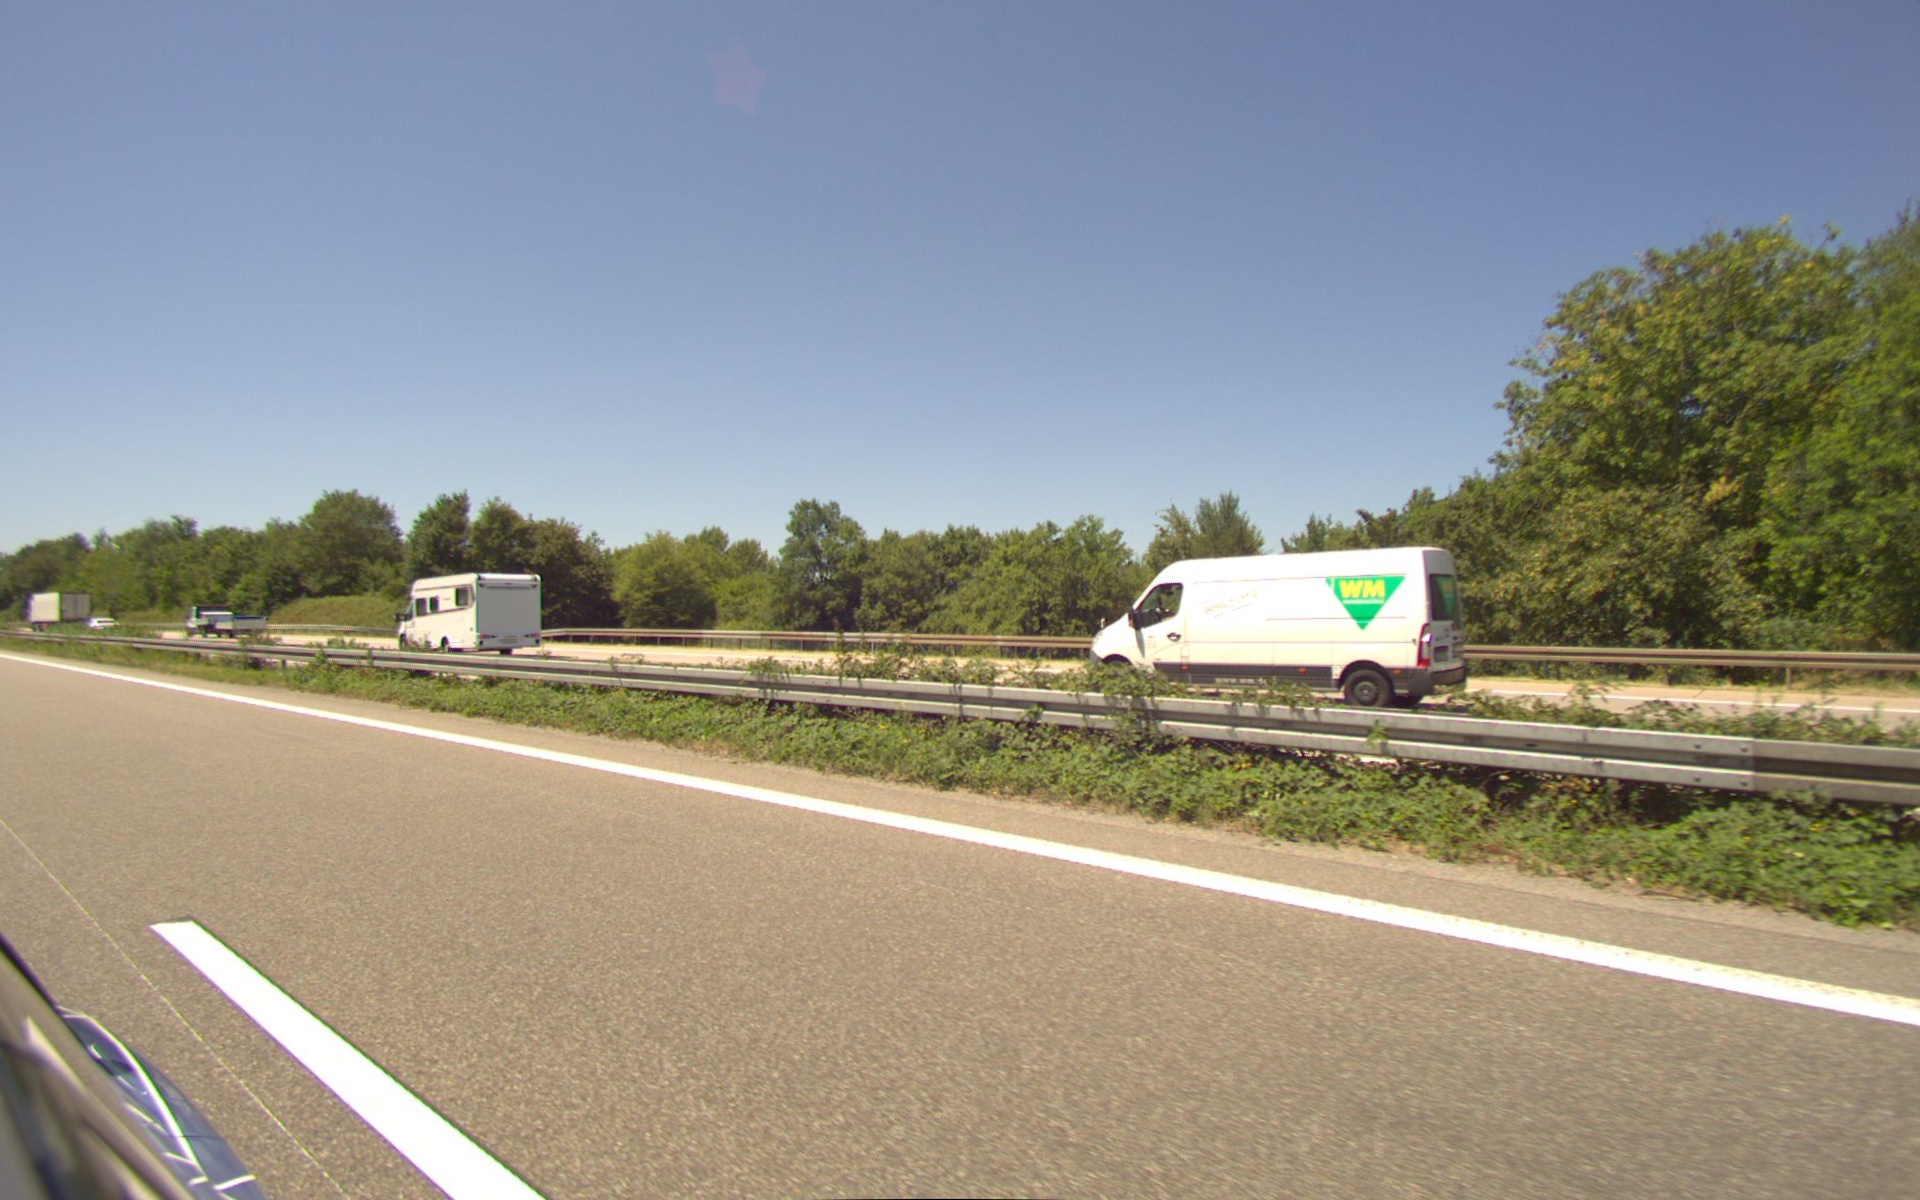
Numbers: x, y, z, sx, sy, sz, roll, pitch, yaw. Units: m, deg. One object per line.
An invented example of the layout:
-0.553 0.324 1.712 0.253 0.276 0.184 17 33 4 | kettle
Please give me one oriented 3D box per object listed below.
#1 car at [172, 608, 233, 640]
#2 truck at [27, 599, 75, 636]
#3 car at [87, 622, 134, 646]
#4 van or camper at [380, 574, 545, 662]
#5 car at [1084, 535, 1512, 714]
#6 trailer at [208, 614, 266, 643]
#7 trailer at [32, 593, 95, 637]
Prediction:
-54.828 1.709 73.184 6.537 2.189 2.221 -1 -1 41 | car
-101.066 1.916 112.437 6.097 3.981 3.227 -1 -1 41 | truck
-61.014 2.407 72.641 5.006 1.608 1.793 -1 -1 41 | car
-18.076 0.661 36.489 8.023 2.871 2.487 -1 -1 42 | van or camper
5.348 0.402 16.824 6.415 2.460 2.192 -1 -2 41 | car
-48.463 1.917 67.784 4.986 1.850 2.007 -1 -1 41 | trailer
-95.691 1.613 107.853 13.579 4.395 3.277 -1 -1 41 | trailer
